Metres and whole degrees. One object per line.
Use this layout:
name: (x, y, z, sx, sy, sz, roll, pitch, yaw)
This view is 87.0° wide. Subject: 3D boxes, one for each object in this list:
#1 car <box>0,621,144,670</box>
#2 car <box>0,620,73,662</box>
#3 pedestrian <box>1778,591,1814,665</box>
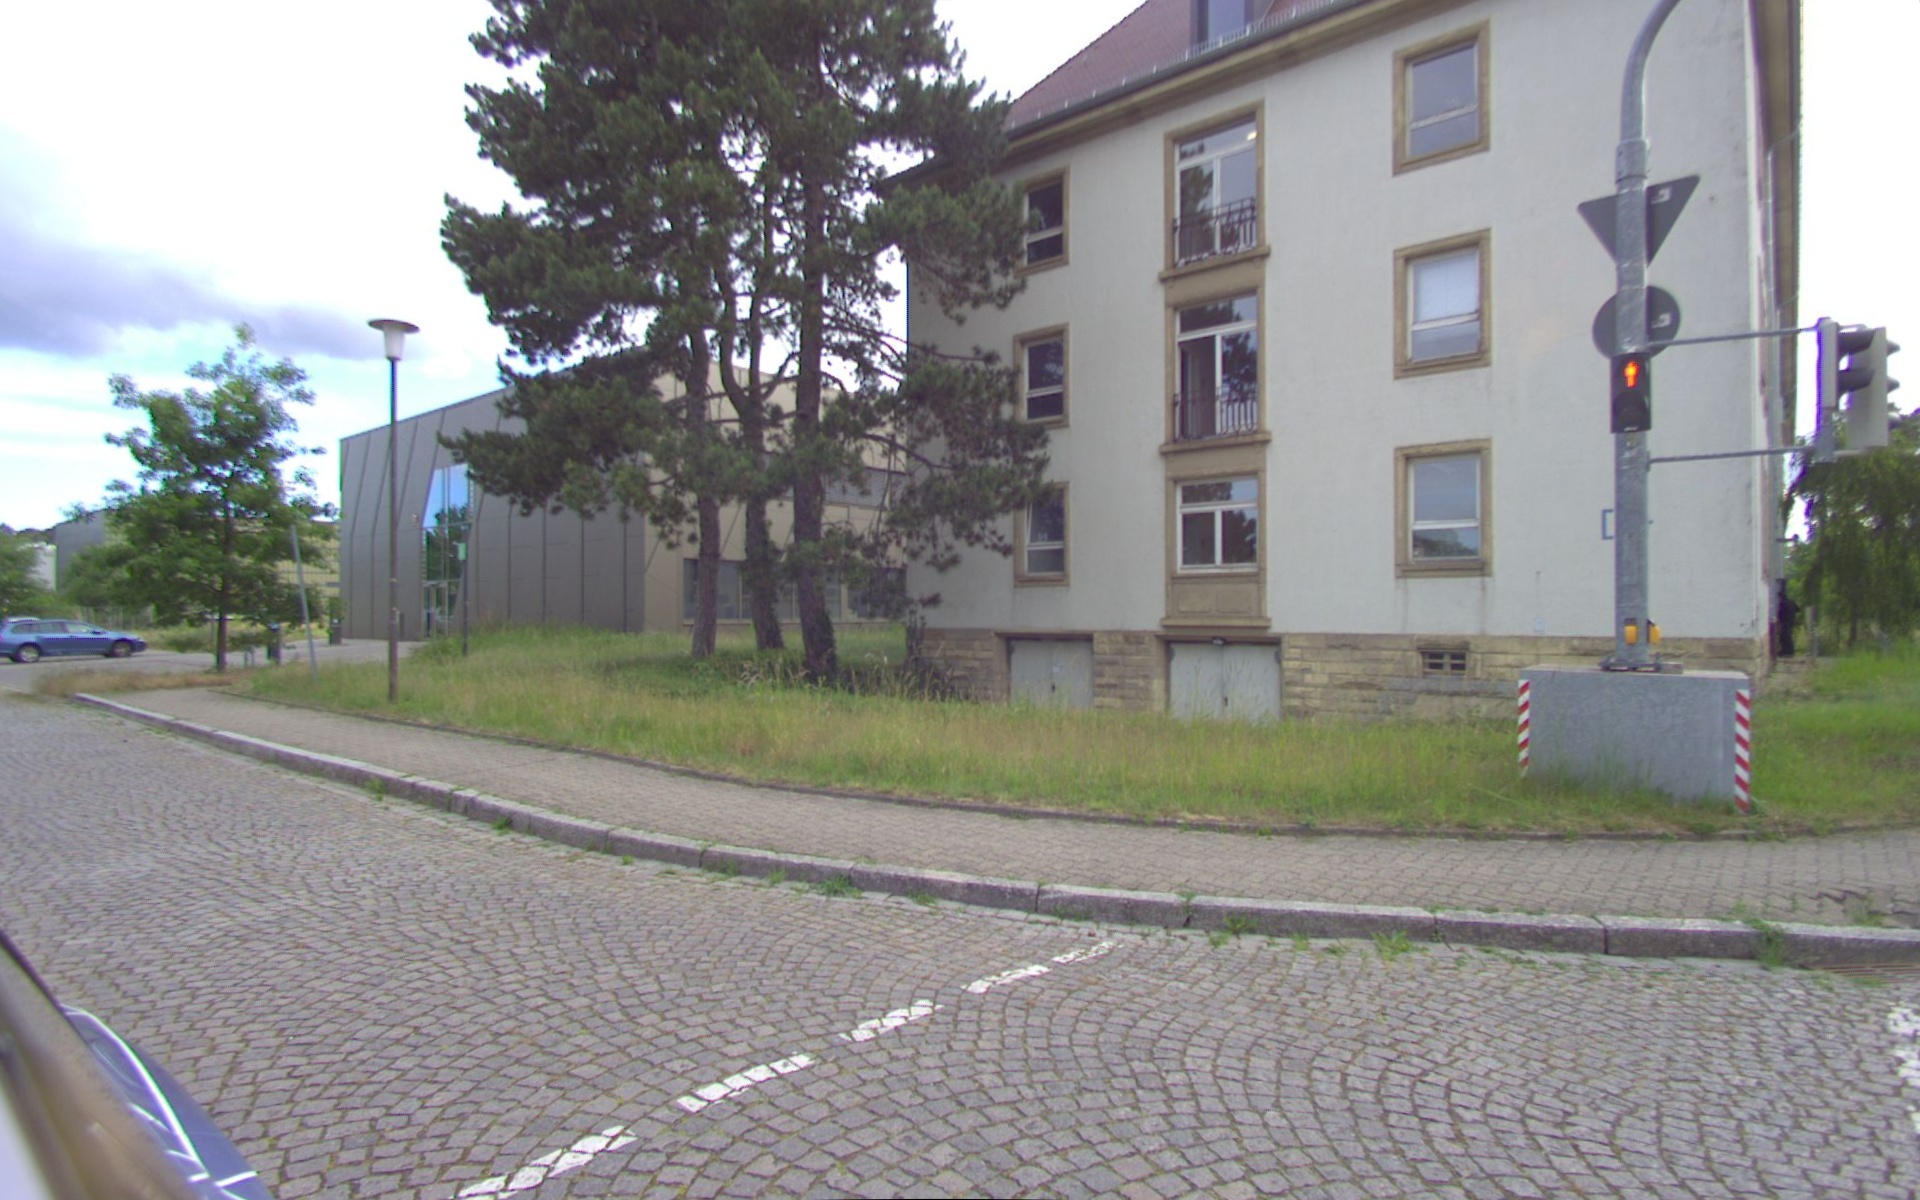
car: (-32.237, 1.594, 36.263, 1.631, 1.480, 4.374, -1, 1, 37)
car: (-37.844, 1.642, 41.038, 1.498, 1.541, 2.553, -1, 1, 38)
pedestrian: (22.420, 0.748, 27.132, 0.682, 1.926, 0.788, -1, -2, 43)
